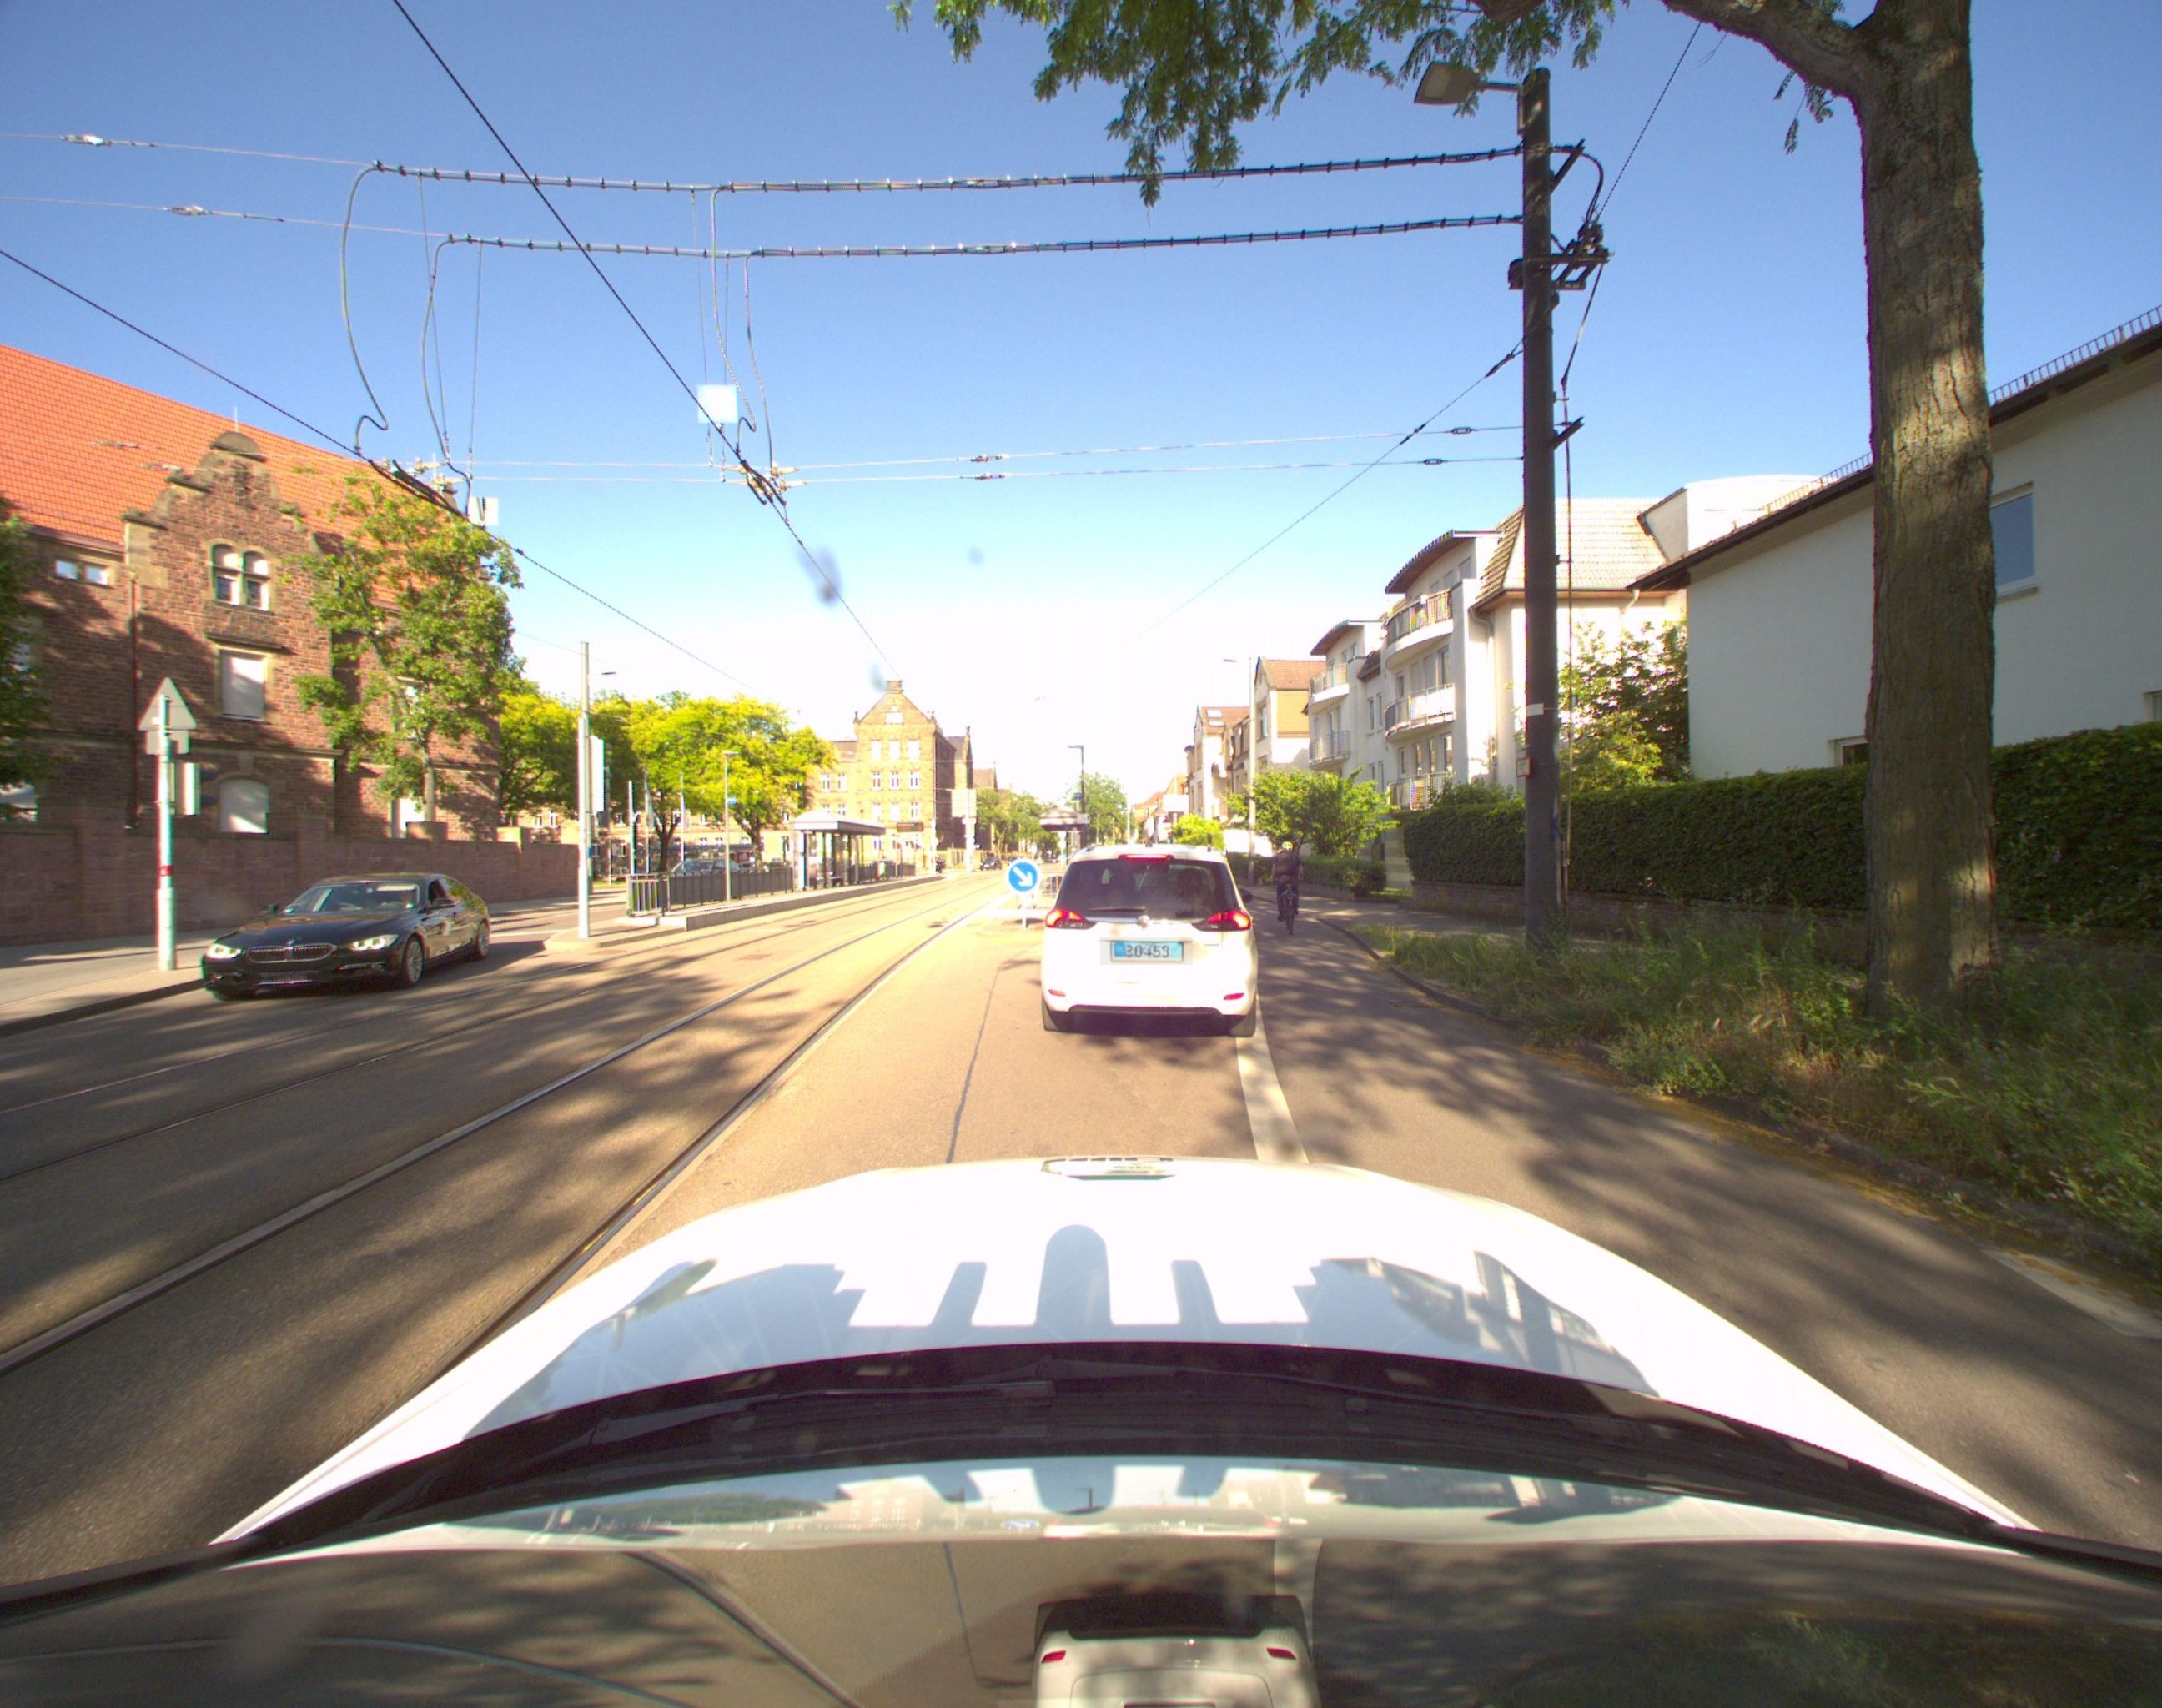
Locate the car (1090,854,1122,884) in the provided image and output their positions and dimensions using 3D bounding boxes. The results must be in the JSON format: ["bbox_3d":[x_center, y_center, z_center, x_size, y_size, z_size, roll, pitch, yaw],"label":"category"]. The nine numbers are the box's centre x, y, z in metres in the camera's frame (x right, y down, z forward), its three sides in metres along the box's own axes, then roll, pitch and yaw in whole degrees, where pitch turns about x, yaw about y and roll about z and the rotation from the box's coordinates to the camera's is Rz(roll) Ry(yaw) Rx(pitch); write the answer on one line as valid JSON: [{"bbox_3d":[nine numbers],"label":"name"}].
[{"bbox_3d":[1.478,0.848,47.139,1.769,1.632,3.882,0,-1,2],"label":"car"}]

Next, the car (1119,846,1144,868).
[{"bbox_3d":[3.847,0.223,62.677,1.769,1.632,3.881,0,-1,1],"label":"car"}]

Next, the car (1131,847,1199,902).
[{"bbox_3d":[2.634,0.634,26.363,1.770,1.632,3.879,0,-1,-1],"label":"car"}]

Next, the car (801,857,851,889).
[{"bbox_3d":[-14.267,1.027,45.750,1.793,1.637,4.112,-2,0,-5],"label":"car"}]

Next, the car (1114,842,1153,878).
[{"bbox_3d":[2.477,0.271,39.179,1.769,1.632,3.882,0,-1,1],"label":"car"}]

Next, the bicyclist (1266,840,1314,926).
[{"bbox_3d":[4.077,0.551,15.959,0.683,1.634,1.016,0,-1,2],"label":"bicyclist"}]

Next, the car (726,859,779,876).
[{"bbox_3d":[-30.077,1.210,74.574,4.050,1.522,1.878,0,-1,1],"label":"car"}]

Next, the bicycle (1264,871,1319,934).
[{"bbox_3d":[4.078,0.915,15.885,0.683,1.157,1.620,0,-1,2],"label":"bicycle"}]

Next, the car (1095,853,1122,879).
[{"bbox_3d":[1.803,0.778,54.034,1.769,1.692,3.881,0,-1,1],"label":"car"}]

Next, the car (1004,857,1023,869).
[{"bbox_3d":[-8.556,1.160,104.128,1.986,1.546,4.001,0,-1,2],"label":"car"}]

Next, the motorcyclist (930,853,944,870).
[{"bbox_3d":[-12.802,0.692,72.360,1.122,1.525,1.053,0,-1,-5],"label":"motorcyclist"}]

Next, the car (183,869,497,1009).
[{"bbox_3d":[-9.611,0.960,11.051,1.742,1.422,4.229,-1,0,-22],"label":"car"}]

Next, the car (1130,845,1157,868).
[{"bbox_3d":[4.445,0.184,58.317,1.769,1.632,3.881,0,-1,1],"label":"car"}]

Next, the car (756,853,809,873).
[{"bbox_3d":[-25.424,0.787,69.466,3.844,1.660,1.751,0,-1,1],"label":"car"}]

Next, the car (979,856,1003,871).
[{"bbox_3d":[-9.802,1.048,89.066,1.986,1.546,4.001,0,-1,2],"label":"car"}]

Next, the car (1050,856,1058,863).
[{"bbox_3d":[-6.724,1.321,206.268,1.901,1.677,4.356,-1,0,-1],"label":"car"}]

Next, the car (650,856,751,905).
[{"bbox_3d":[-13.725,0.902,29.659,1.917,1.616,4.111,-2,0,-4],"label":"car"}]

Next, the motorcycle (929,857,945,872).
[{"bbox_3d":[-12.796,0.941,72.330,1.128,1.243,2.569,0,-1,-4],"label":"motorcycle"}]

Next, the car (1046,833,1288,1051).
[{"bbox_3d":[0.657,0.680,8.150,1.829,1.642,3.918,0,-1,0],"label":"car"}]

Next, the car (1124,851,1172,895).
[{"bbox_3d":[2.623,0.732,32.508,1.768,1.632,3.883,0,-1,3],"label":"car"}]

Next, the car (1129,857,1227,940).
[{"bbox_3d":[1.857,0.803,16.521,1.581,1.420,3.901,-1,0,1],"label":"car"}]
